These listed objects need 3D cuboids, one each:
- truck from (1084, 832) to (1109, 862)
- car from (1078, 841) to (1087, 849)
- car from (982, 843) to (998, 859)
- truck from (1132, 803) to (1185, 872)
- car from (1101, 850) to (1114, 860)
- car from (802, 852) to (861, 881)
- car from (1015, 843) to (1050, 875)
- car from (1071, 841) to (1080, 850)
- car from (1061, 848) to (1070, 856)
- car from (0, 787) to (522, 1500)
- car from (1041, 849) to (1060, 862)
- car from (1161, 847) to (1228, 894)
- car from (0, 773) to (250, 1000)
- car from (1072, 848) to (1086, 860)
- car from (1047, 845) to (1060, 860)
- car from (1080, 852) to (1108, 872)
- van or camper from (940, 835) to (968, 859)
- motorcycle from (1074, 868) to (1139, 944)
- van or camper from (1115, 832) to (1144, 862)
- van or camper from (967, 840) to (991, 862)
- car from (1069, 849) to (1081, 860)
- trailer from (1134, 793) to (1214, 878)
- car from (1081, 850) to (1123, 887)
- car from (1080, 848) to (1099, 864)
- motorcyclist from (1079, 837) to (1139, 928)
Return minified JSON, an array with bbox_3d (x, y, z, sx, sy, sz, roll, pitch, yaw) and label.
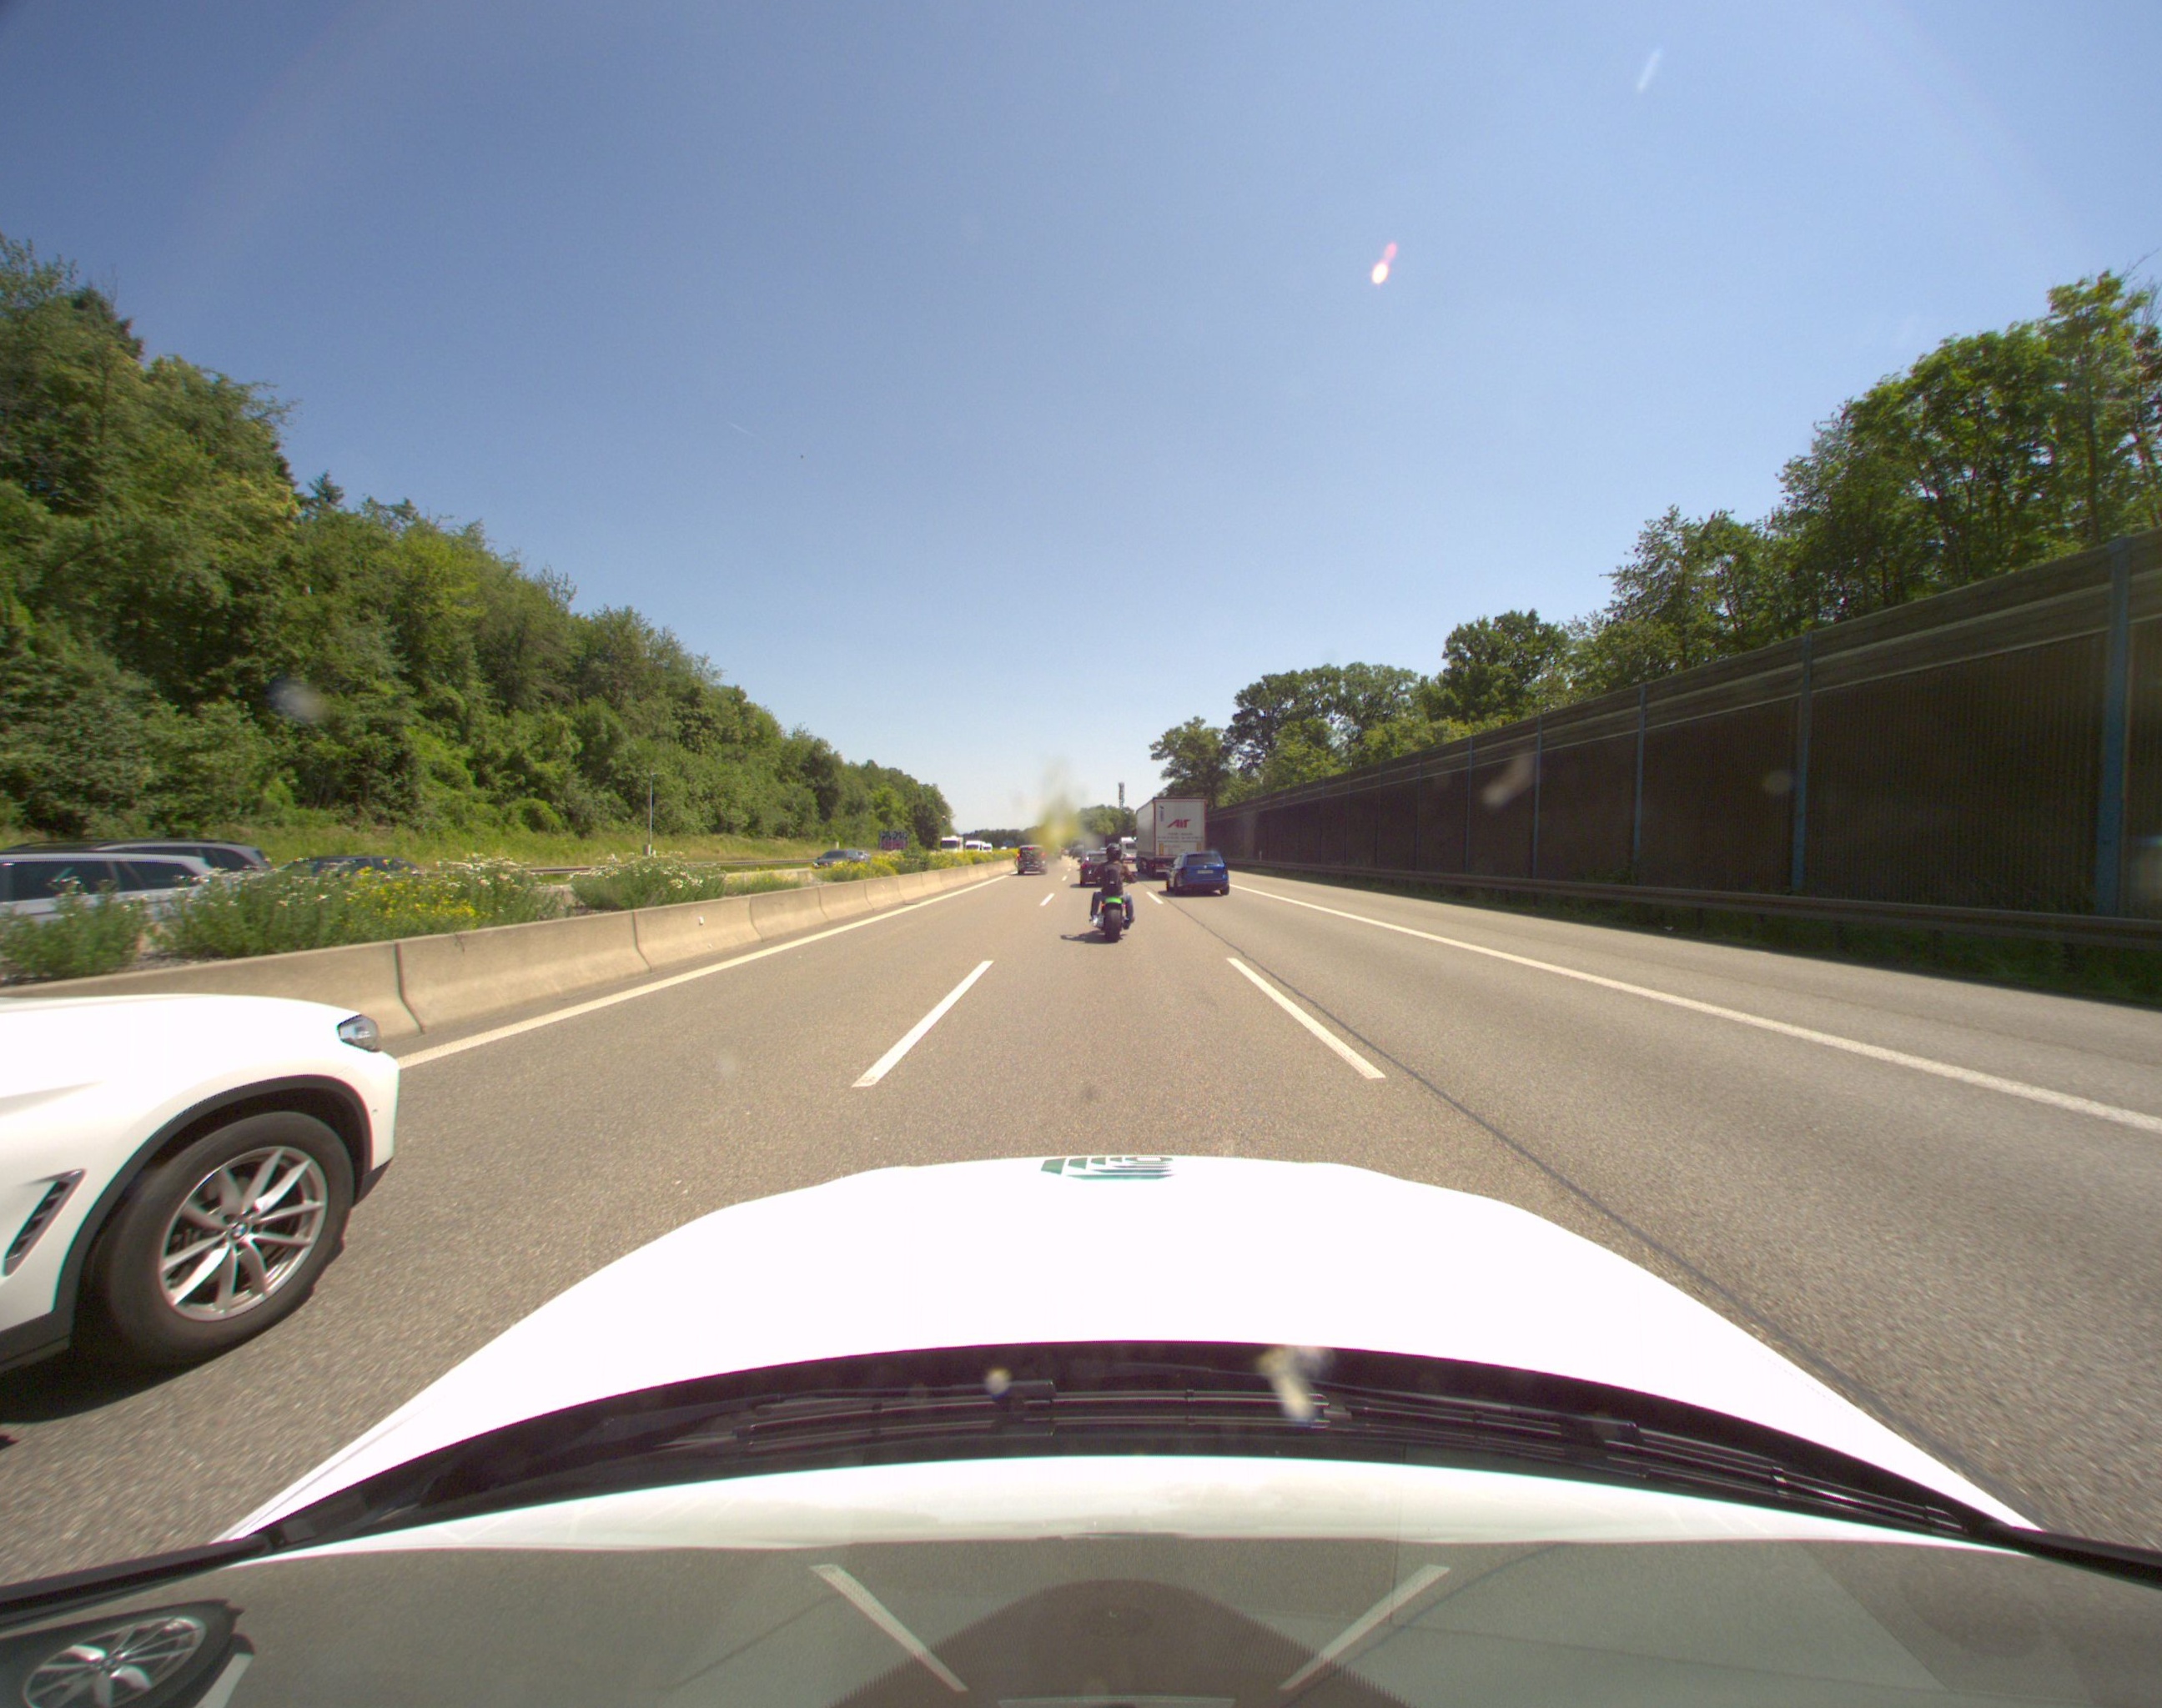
[{"bbox_3d":[2.672,-1.189,145.410,3.795,4.960,8.939,-1,-1,-3],"label":"truck"},{"bbox_3d":[0.363,-2.210,196.397,2.102,1.876,3.997,-1,-1,-1],"label":"car"},{"bbox_3d":[-16.641,-0.543,149.638,2.193,2.741,5.746,-1,0,0],"label":"car"},{"bbox_3d":[4.903,-1.017,52.542,2.876,4.146,5.986,-1,0,0],"label":"truck"},{"bbox_3d":[4.240,0.144,128.493,1.986,1.574,4.001,-1,-1,1],"label":"car"},{"bbox_3d":[-14.402,0.670,47.222,1.986,1.587,4.275,-1,0,1],"label":"car"},{"bbox_3d":[-2.965,0.311,50.938,1.893,1.873,4.411,-1,-1,0],"label":"car"},{"bbox_3d":[-1.298,-2.108,202.044,2.102,1.876,3.997,-1,-1,-1],"label":"car"},{"bbox_3d":[-3.216,-0.448,172.859,1.827,1.496,3.741,-1,-1,-1],"label":"car"},{"bbox_3d":[-3.534,0.705,1.197,1.857,1.694,4.958,-1,0,2],"label":"car"},{"bbox_3d":[-3.352,0.172,90.498,1.988,1.387,3.998,-1,-1,-1],"label":"car"},{"bbox_3d":[3.828,0.550,28.206,1.645,1.483,4.480,-1,-1,-1],"label":"car"},{"bbox_3d":[-10.600,0.306,7.337,1.985,2.014,4.003,-1,-1,3],"label":"car"},{"bbox_3d":[-0.298,0.070,117.495,1.988,1.640,3.996,-1,-1,-2],"label":"car"},{"bbox_3d":[-3.834,-0.176,113.792,1.786,2.014,3.641,-1,-1,0],"label":"car"},{"bbox_3d":[0.959,0.579,60.093,1.987,1.430,3.847,-1,-1,1],"label":"car"},{"bbox_3d":[-18.272,-0.960,117.785,2.531,3.317,9.001,-1,-1,0],"label":"van or camper"},{"bbox_3d":[0.505,0.854,14.367,0.960,1.148,2.816,0,0,6],"label":"motorcycle"},{"bbox_3d":[4.906,-0.641,83.322,2.676,2.813,6.803,-1,-1,1],"label":"van or camper"},{"bbox_3d":[-13.709,-0.390,110.030,2.250,2.899,6.557,-1,0,1],"label":"van or camper"},{"bbox_3d":[-1.125,0.084,145.995,1.908,2.014,3.684,-1,-1,-5],"label":"car"},{"bbox_3d":[4.910,-0.906,45.879,2.876,4.038,13.793,-1,0,0],"label":"trailer"},{"bbox_3d":[0.853,0.614,34.942,1.657,1.453,3.868,-1,-1,0],"label":"car"},{"bbox_3d":[0.876,0.189,82.028,1.773,1.552,3.586,0,0,1],"label":"car"},{"bbox_3d":[0.527,0.481,14.195,0.895,1.475,1.875,-1,-1,6],"label":"motorcyclist"}]
